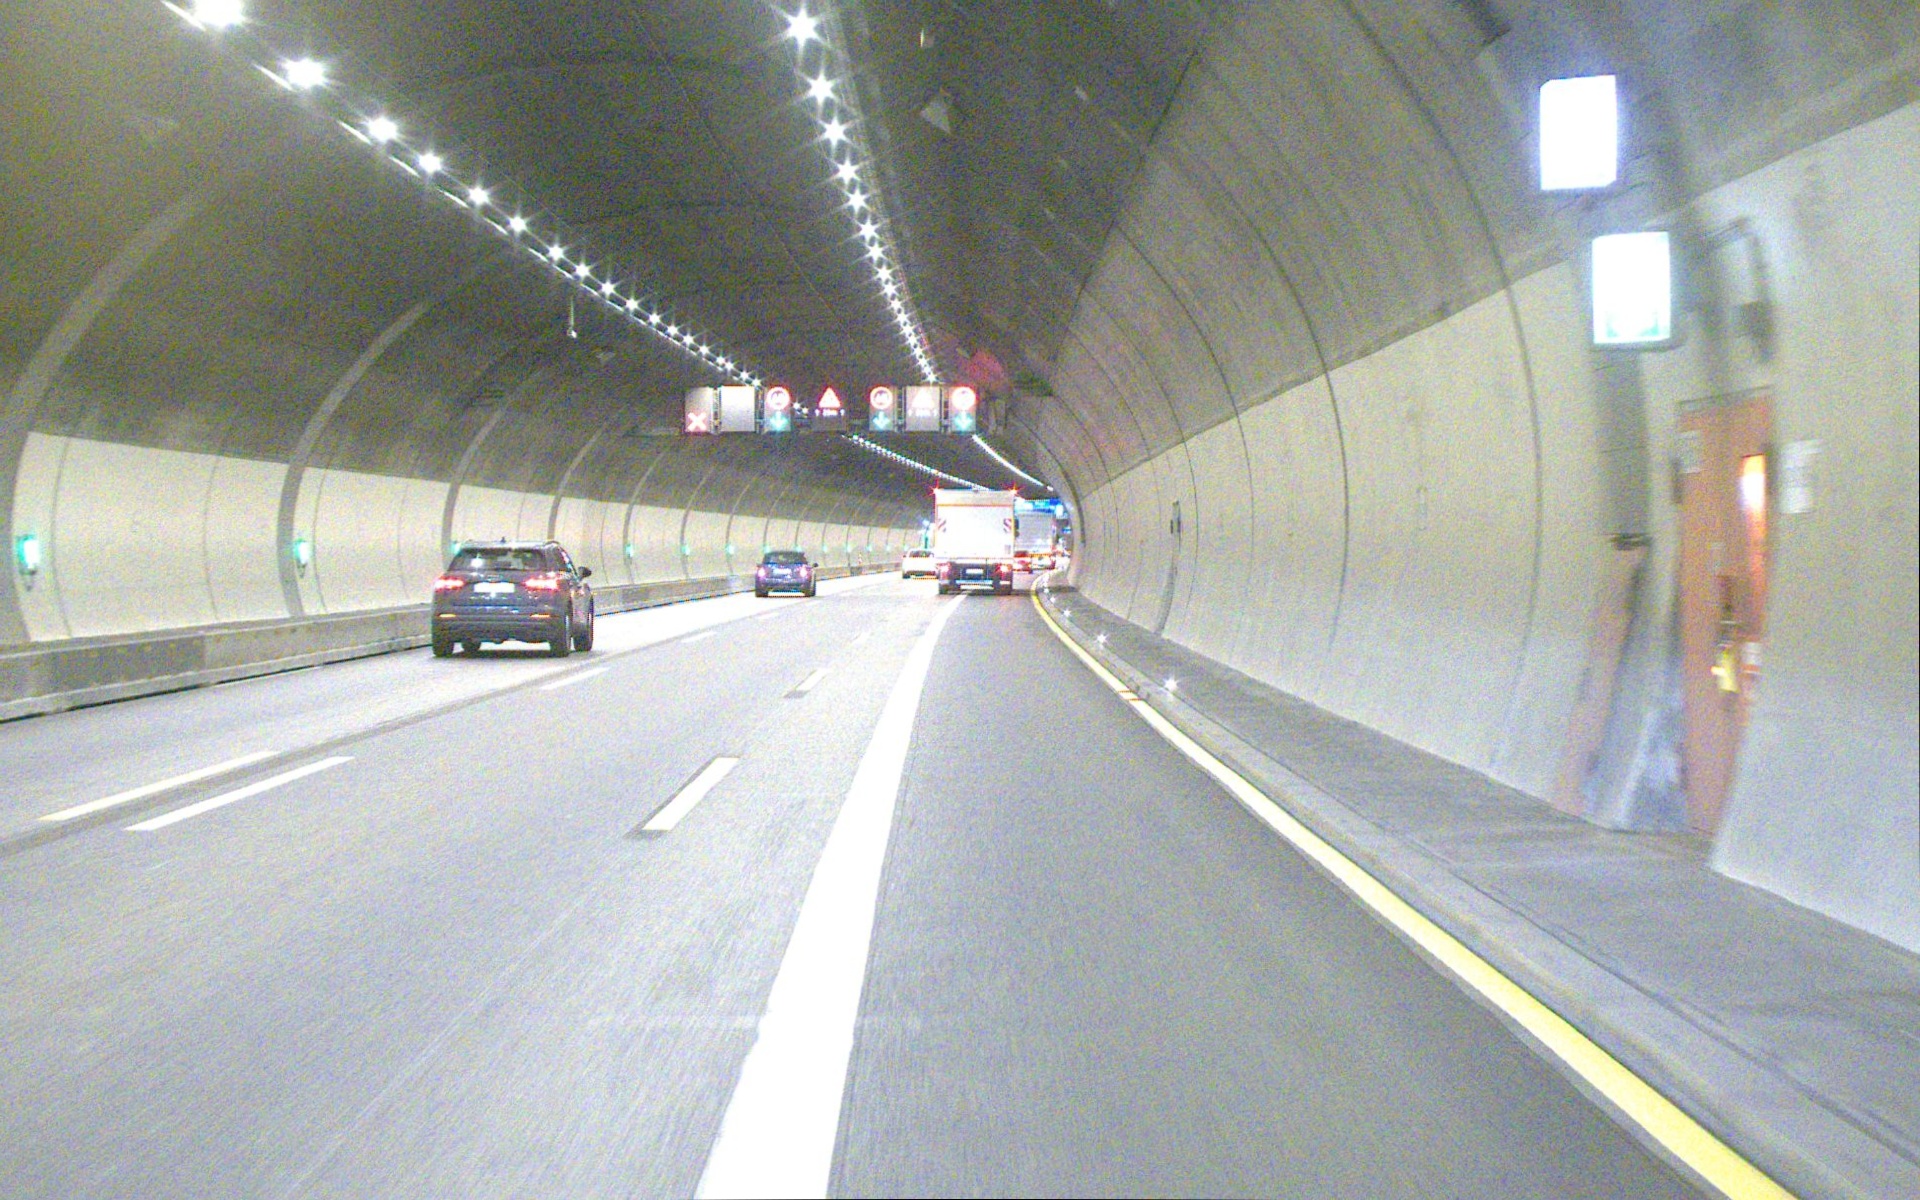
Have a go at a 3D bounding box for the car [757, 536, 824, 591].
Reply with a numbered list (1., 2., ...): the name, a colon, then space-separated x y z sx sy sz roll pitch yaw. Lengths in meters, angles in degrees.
1. car: -5.092 -1.114 103.831 1.812 1.514 4.001 0 3 0

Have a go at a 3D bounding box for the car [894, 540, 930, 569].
1. car: -2.305 -2.198 165.029 1.650 1.270 4.001 0 3 0

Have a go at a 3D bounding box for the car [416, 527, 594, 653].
1. car: -6.138 -0.174 46.736 1.812 1.612 4.000 0 1 1

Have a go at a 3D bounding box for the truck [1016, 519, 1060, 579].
1. truck: 5.630 -3.690 246.903 2.923 4.034 14.029 -2 1 2

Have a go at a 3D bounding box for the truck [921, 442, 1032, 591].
1. truck: 0.434 -2.792 118.126 3.278 4.634 17.288 -2 1 -1
